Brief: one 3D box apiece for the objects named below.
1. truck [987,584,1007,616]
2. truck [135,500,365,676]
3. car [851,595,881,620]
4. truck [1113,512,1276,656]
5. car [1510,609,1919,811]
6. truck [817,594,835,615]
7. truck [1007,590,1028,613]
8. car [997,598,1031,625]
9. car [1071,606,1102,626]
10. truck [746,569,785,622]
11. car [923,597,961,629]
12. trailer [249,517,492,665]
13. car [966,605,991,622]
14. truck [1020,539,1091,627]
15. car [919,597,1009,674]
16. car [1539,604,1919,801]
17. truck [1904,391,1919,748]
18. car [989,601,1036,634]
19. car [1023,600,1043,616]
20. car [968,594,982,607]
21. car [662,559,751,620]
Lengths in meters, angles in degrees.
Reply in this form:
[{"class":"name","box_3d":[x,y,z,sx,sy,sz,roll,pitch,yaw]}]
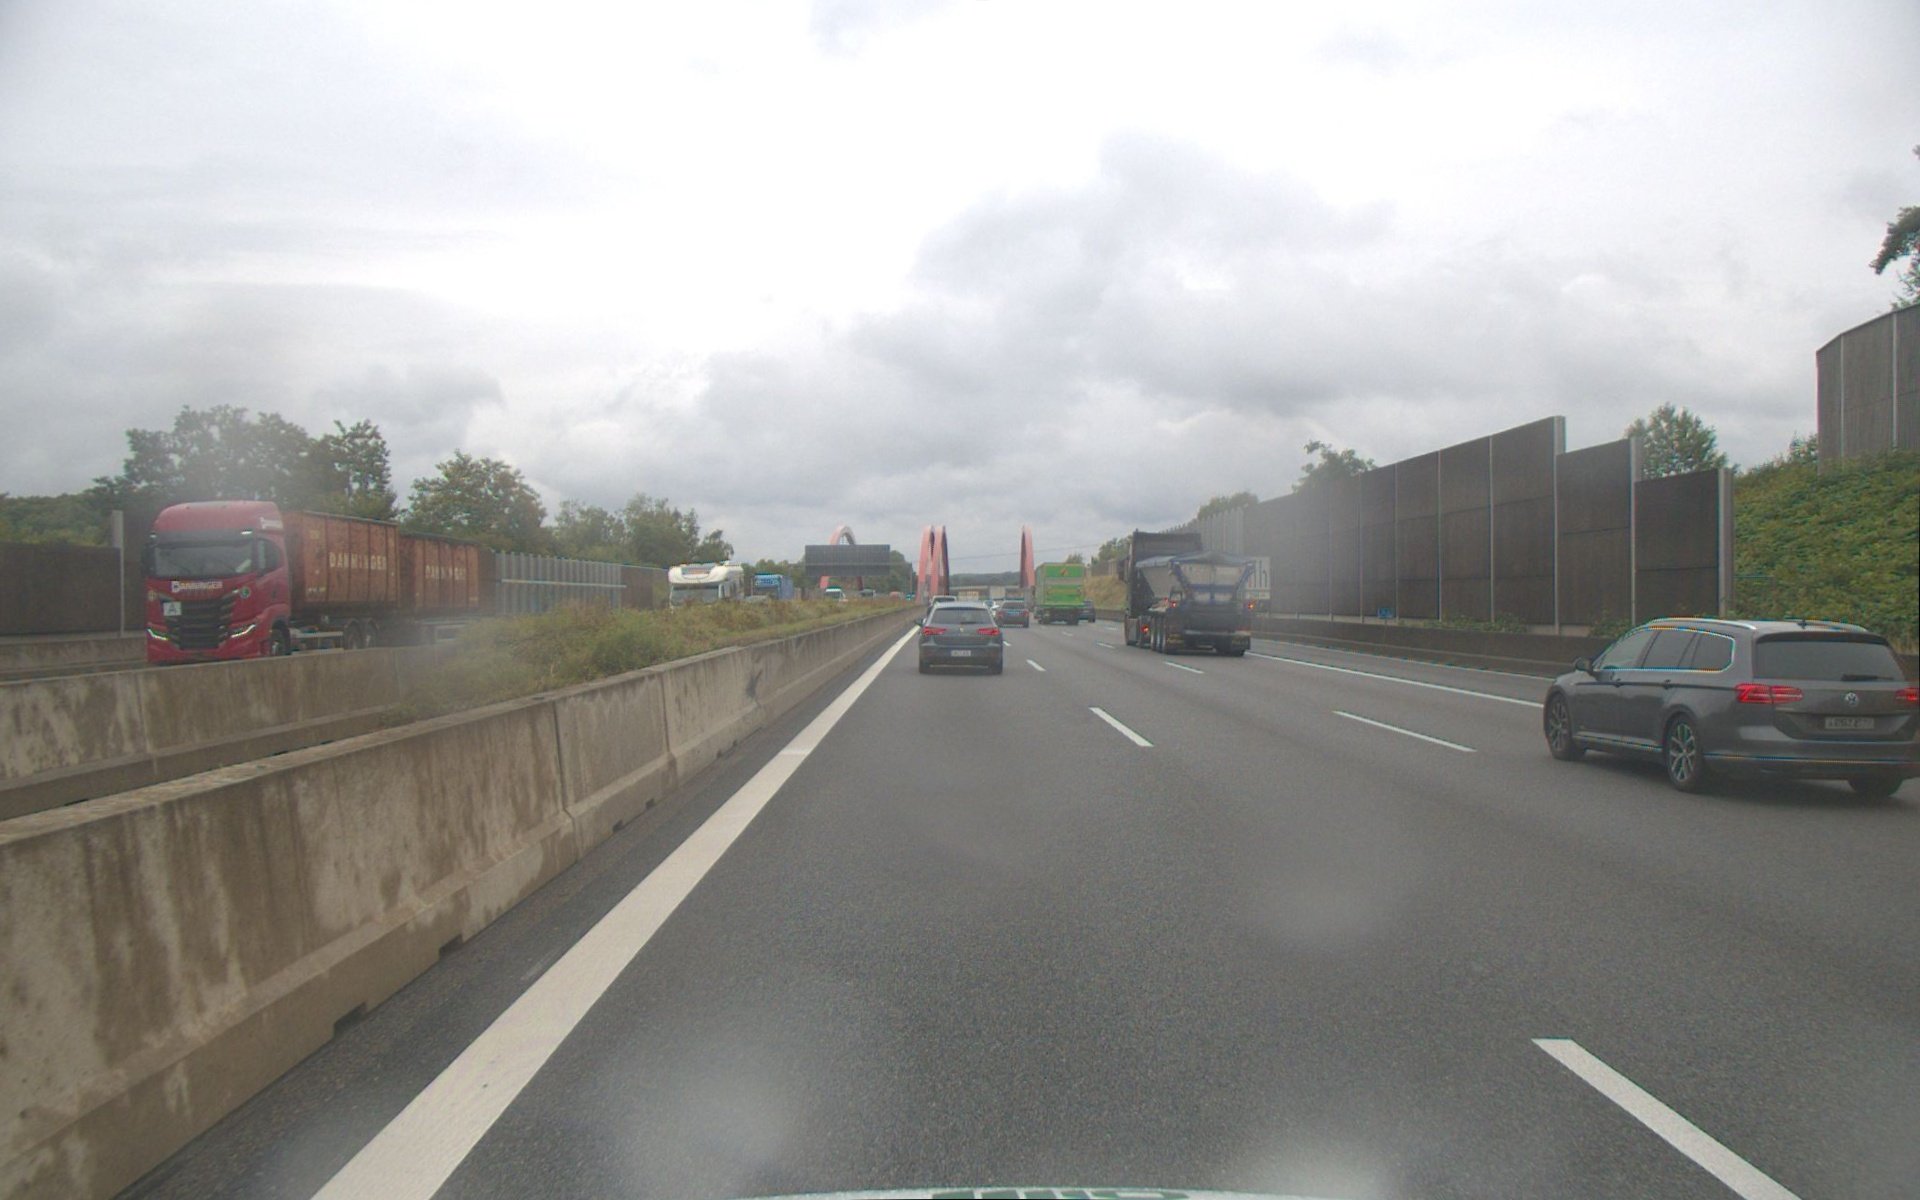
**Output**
[{"class":"truck","box_3d":[5.792,-0.021,259.233,2.982,4.817,7.680,1,0,0]},{"class":"truck","box_3d":[-16.636,-0.249,39.295,2.641,3.771,6.479,1,0,-1]},{"class":"car","box_3d":[-6.613,0.519,117.088,1.953,1.780,3.999,0,0,-1]},{"class":"truck","box_3d":[7.200,-0.438,52.921,3.027,4.019,12.940,-1,0,-1]},{"class":"car","box_3d":[6.973,0.868,15.324,1.900,1.452,5.288,2,0,-1]},{"class":"truck","box_3d":[-20.544,0.728,253.840,2.569,3.072,5.610,1,0,-3]},{"class":"truck","box_3d":[6.644,0.147,192.068,2.312,2.550,6.144,1,0,0]},{"class":"car","box_3d":[2.961,0.637,90.840,1.745,1.431,3.626,1,0,0]},{"class":"car","box_3d":[9.388,1.179,122.967,1.953,1.378,3.999,0,0,-1]},{"class":"truck","box_3d":[-18.739,-0.398,159.692,3.124,4.943,5.417,1,0,-2]},{"class":"car","box_3d":[-0.933,0.657,86.969,1.953,1.612,3.999,0,0,-1]},{"class":"trailer","box_3d":[-16.730,-0.249,48.210,2.671,3.748,12.561,0,0,-1]},{"class":"car","box_3d":[1.563,1.124,139.442,1.953,1.378,3.999,0,0,-1]},{"class":"truck","box_3d":[6.103,-1.029,107.914,3.915,5.358,11.219,1,0,0]},{"class":"car","box_3d":[0.102,0.699,34.227,1.727,1.478,4.000,1,0,1]},{"class":"car","box_3d":[6.881,0.800,14.929,1.629,1.482,4.469,1,0,-1]},{"class":"truck","box_3d":[12.269,-0.330,14.282,2.631,4.027,9.323,1,0,-2]},{"class":"car","box_3d":[2.297,0.752,73.316,1.952,1.378,4.000,1,0,0]},{"class":"car","box_3d":[7.705,0.831,175.690,1.917,1.676,3.999,1,0,0]},{"class":"car","box_3d":[2.172,0.124,238.378,1.952,1.847,4.000,1,0,0]},{"class":"car","box_3d":[-9.761,-0.358,64.394,2.325,2.231,7.722,0,0,-1]}]
